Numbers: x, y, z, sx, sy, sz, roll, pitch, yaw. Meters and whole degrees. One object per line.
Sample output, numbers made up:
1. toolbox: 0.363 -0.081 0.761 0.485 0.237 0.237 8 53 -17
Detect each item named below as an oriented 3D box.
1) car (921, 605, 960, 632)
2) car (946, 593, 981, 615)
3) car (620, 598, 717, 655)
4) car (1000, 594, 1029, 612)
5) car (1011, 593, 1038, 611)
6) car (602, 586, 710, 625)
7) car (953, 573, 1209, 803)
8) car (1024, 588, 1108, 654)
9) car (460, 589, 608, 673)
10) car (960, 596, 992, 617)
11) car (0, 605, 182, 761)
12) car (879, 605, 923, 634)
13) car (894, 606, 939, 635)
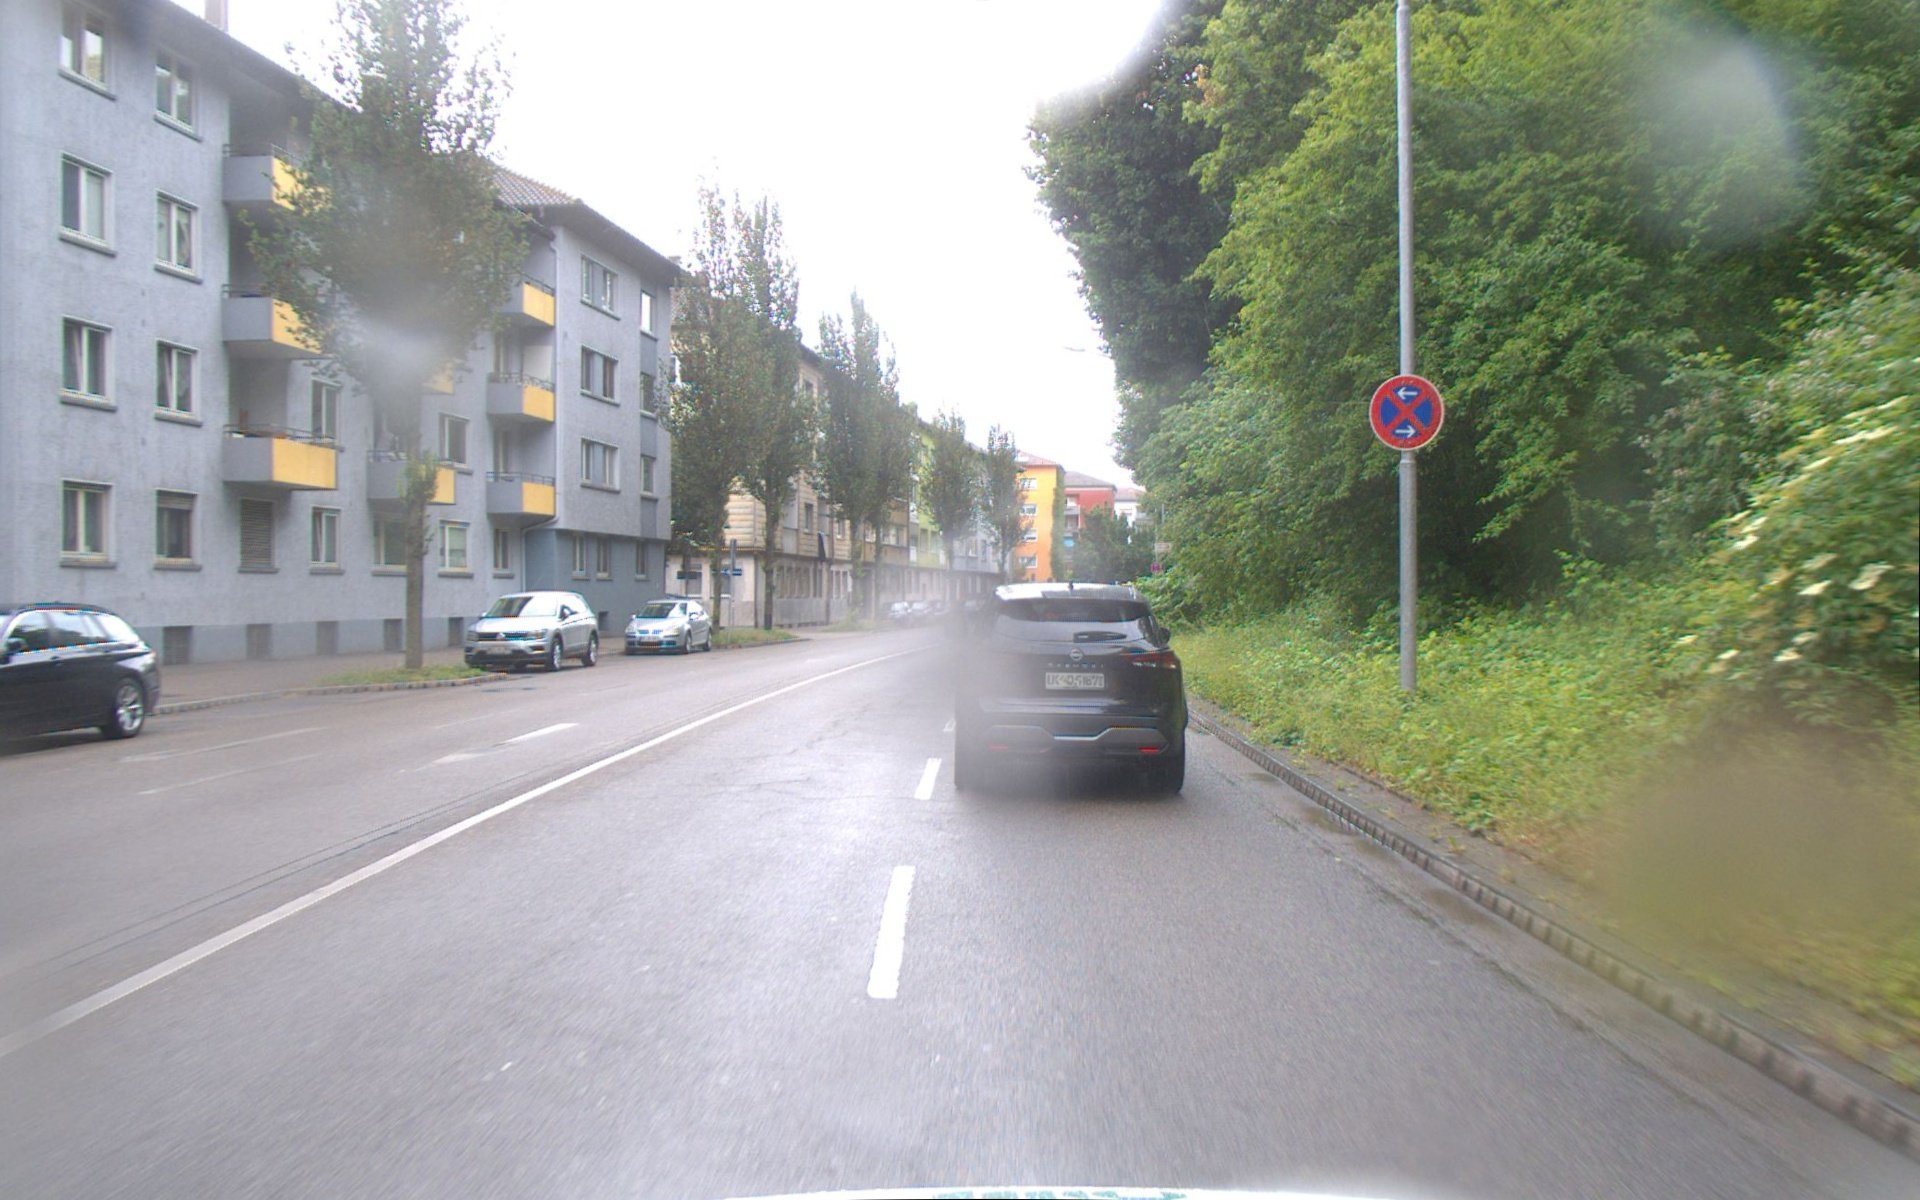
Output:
1. car: -1.193 1.104 101.091 1.681 1.515 4.518 -2 0 8
2. car: 0.268 0.249 112.345 1.779 1.396 4.684 -2 0 7
3. car: -7.995 0.711 45.712 1.688 1.478 4.207 -1 0 4
4. car: 4.489 0.248 135.542 1.652 1.381 4.583 -3 0 10
5. car: 5.523 0.168 141.196 1.644 1.474 4.279 -3 0 11
6. car: -12.740 0.221 69.469 4.061 1.606 1.928 0 0 7
7. car: 0.937 0.622 13.916 1.806 1.610 4.001 1 0 2
8. car: 3.019 0.573 46.504 1.846 1.741 4.003 1 0 11
9. car: -8.874 0.604 34.862 1.727 1.632 4.535 -1 0 3
10. car: 1.145 0.471 117.890 1.644 1.400 4.003 -2 0 9
11. car: -9.911 0.814 16.536 1.783 1.465 4.893 -2 0 2
12. car: -3.043 0.990 85.551 1.591 1.411 3.992 -1 0 8
13. car: -2.370 1.118 91.907 1.779 1.515 4.793 -2 0 7
